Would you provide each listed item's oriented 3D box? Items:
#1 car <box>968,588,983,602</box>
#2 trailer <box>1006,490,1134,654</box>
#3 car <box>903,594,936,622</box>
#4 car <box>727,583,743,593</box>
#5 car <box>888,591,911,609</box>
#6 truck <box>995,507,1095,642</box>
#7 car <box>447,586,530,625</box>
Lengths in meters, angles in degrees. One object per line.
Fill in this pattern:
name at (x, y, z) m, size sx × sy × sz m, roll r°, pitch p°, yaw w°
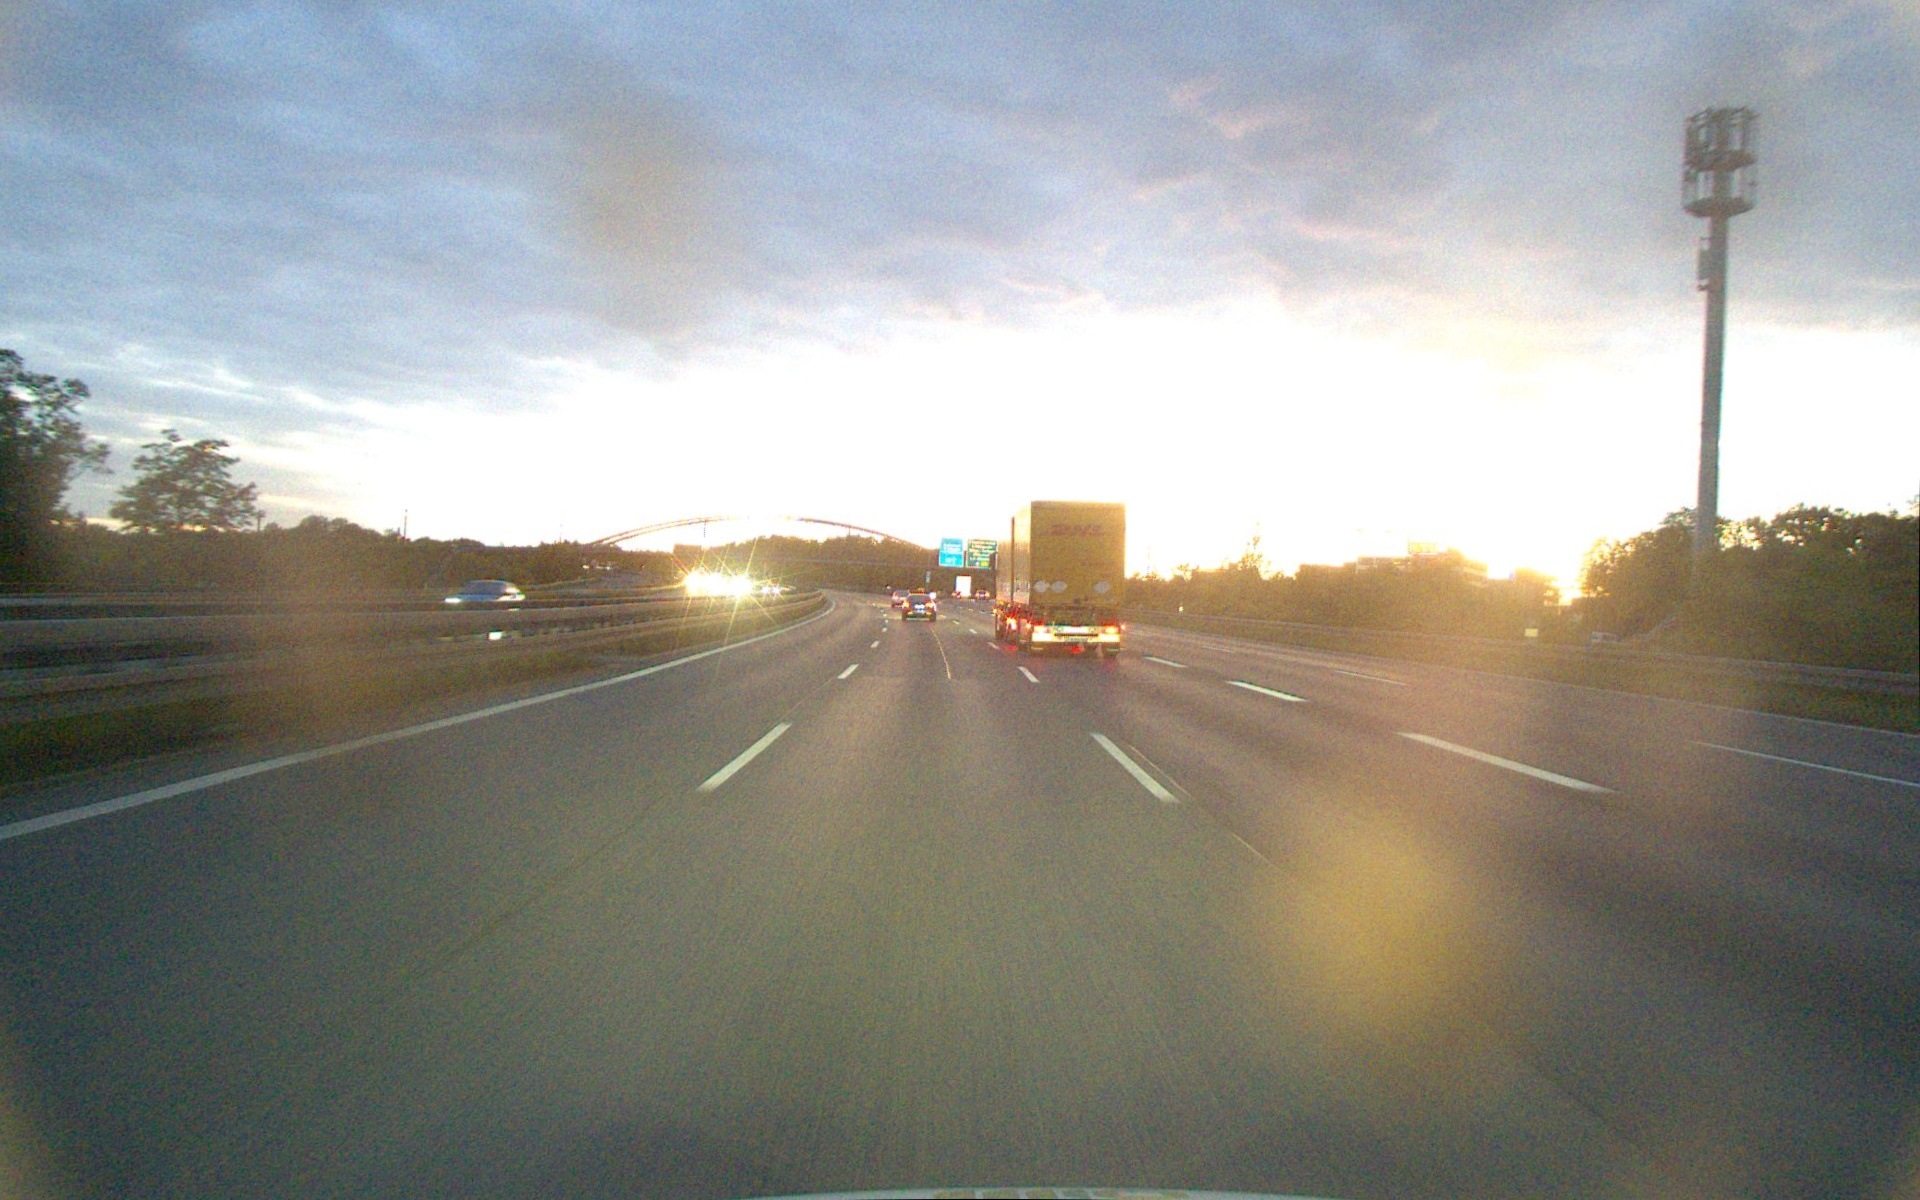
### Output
car at (2.179, -0.731, 227.294) m, size 1.952 × 1.747 × 4.000 m, roll 2°, pitch -2°, yaw 2°
trailer at (2.958, -0.754, 46.888) m, size 2.667 × 4.142 × 8.828 m, roll 1°, pitch 0°, yaw -2°
car at (-2.213, 0.443, 89.598) m, size 1.656 × 1.426 × 3.406 m, roll 1°, pitch -1°, yaw -3°
car at (-29.504, -1.621, 216.729) m, size 1.687 × 1.248 × 4.181 m, roll 1°, pitch 0°, yaw -3°
car at (-5.206, 0.024, 141.915) m, size 1.654 × 1.426 × 3.409 m, roll 1°, pitch -2°, yaw 3°
truck at (2.735, -0.827, 56.543) m, size 2.636 × 4.142 × 10.518 m, roll 1°, pitch 0°, yaw -1°
car at (-18.034, 0.191, 63.515) m, size 1.953 × 1.382 × 4.863 m, roll 1°, pitch 0°, yaw -2°
